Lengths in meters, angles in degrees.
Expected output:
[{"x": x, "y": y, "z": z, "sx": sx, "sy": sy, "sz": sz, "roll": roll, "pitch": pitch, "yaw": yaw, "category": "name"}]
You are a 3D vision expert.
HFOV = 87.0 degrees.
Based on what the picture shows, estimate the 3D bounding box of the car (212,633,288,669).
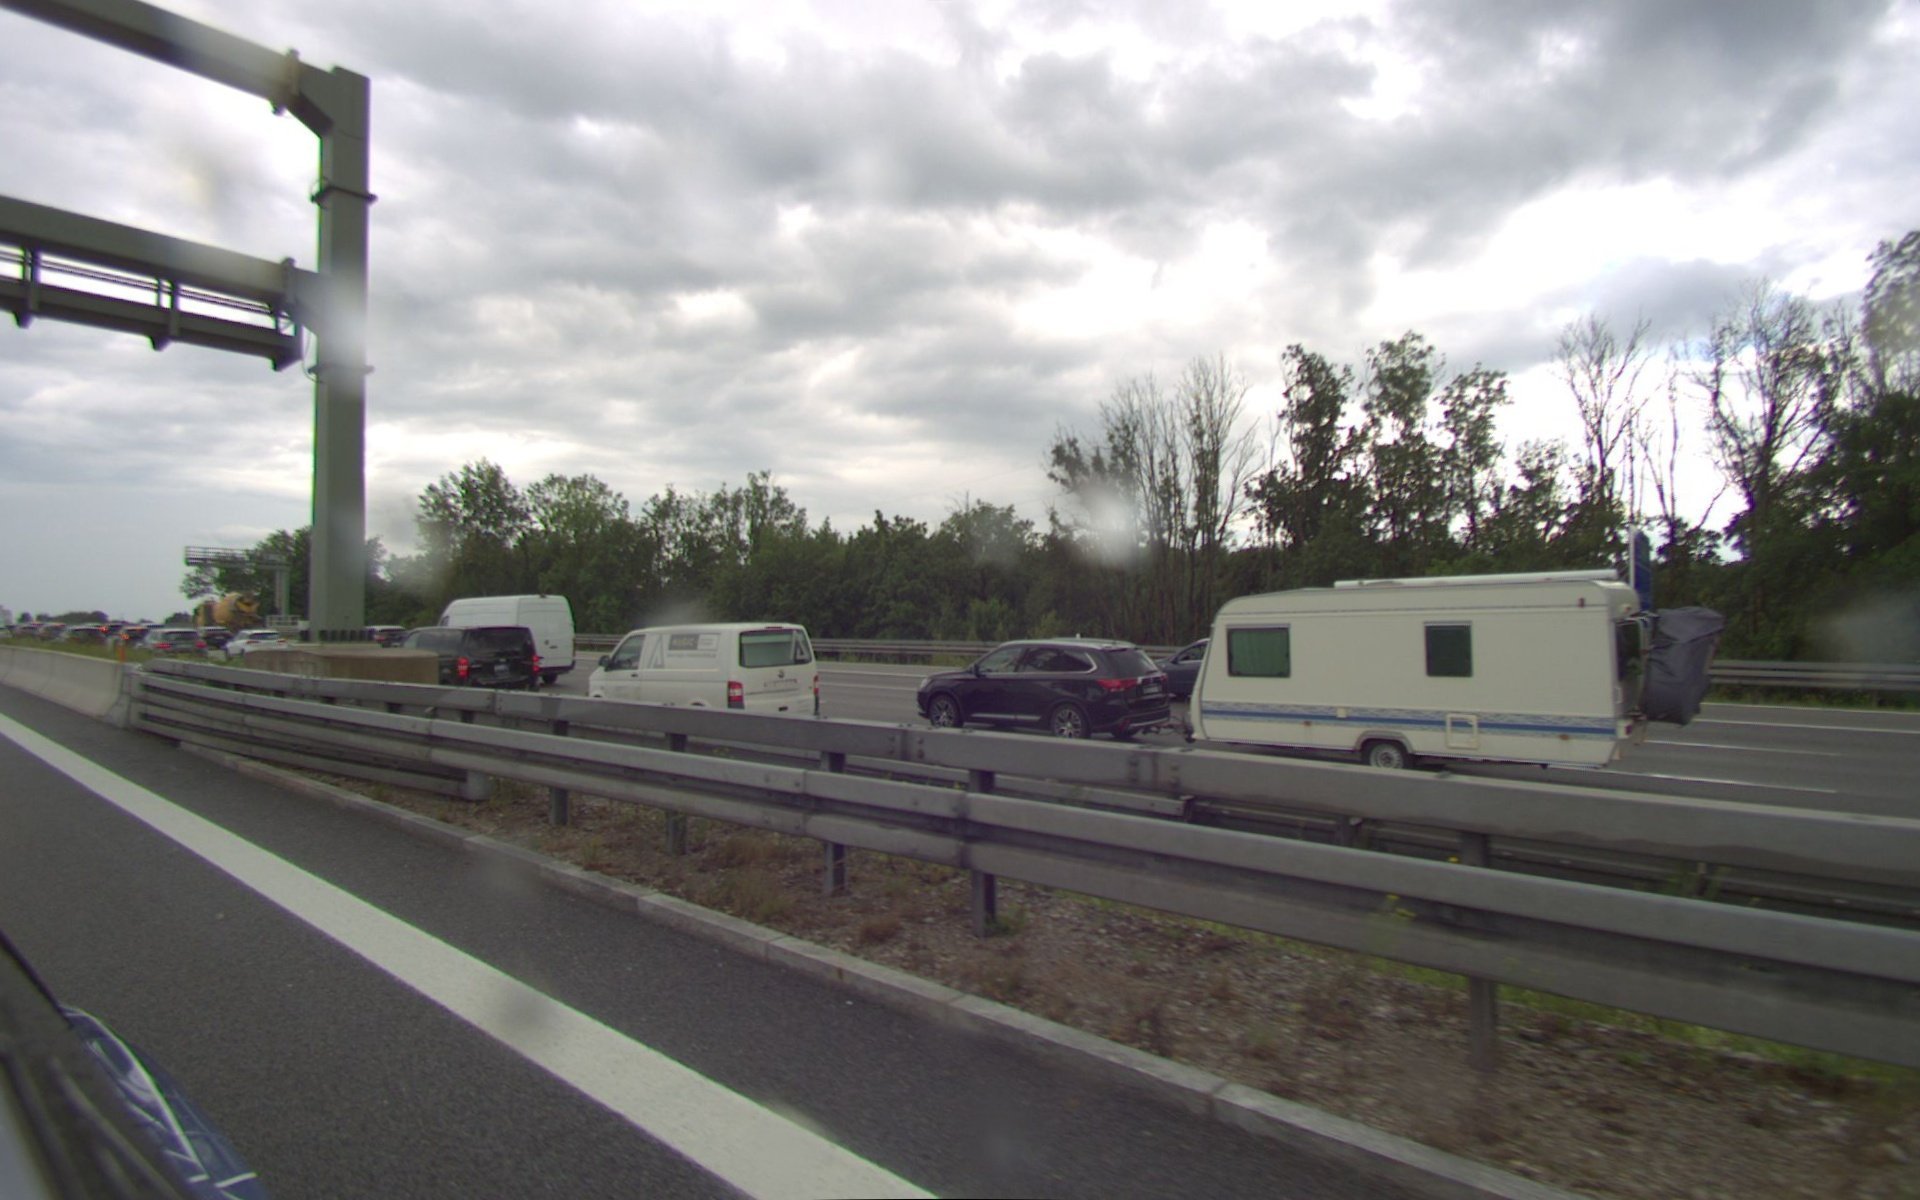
[{"x": -33.386, "y": 2.372, "z": 47.548, "sx": 4.909, "sy": 1.505, "sz": 1.706, "roll": -1, "pitch": 0, "yaw": 40, "category": "car"}]

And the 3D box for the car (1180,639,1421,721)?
[{"x": 7.184, "y": 1.612, "z": 21.598, "sx": 4.475, "sy": 1.506, "sz": 1.962, "roll": -1, "pitch": -2, "yaw": 41, "category": "car"}]

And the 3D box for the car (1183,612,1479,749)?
[{"x": 6.380, "y": 1.288, "z": 17.715, "sx": 4.475, "sy": 2.093, "sz": 1.962, "roll": -1, "pitch": -2, "yaw": 41, "category": "car"}]

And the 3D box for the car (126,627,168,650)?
[{"x": -62.503, "y": 2.913, "z": 77.759, "sx": 4.516, "sy": 1.615, "sz": 1.705, "roll": -1, "pitch": 0, "yaw": 41, "category": "car"}]

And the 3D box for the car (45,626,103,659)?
[{"x": -48.127, "y": 2.273, "z": 54.947, "sx": 4.910, "sy": 1.615, "sz": 1.705, "roll": -1, "pitch": 0, "yaw": 41, "category": "car"}]

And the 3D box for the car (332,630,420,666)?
[{"x": -26.686, "y": 2.146, "z": 46.197, "sx": 4.910, "sy": 1.506, "sz": 1.962, "roll": -1, "pitch": -2, "yaw": 41, "category": "car"}]

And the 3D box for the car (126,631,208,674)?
[{"x": -32.865, "y": 2.119, "z": 41.892, "sx": 4.909, "sy": 1.615, "sz": 1.706, "roll": -1, "pitch": 0, "yaw": 40, "category": "car"}]

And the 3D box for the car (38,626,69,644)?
[{"x": -92.852, "y": 3.555, "z": 103.643, "sx": 5.233, "sy": 1.658, "sz": 1.705, "roll": -1, "pitch": 0, "yaw": 41, "category": "car"}]

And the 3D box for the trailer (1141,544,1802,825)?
[{"x": 6.011, "y": 0.871, "z": 12.906, "sx": 7.181, "sy": 2.673, "sz": 2.317, "roll": -1, "pitch": -2, "yaw": 42, "category": "trailer"}]

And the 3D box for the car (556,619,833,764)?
[{"x": -4.627, "y": 1.383, "z": 17.099, "sx": 5.372, "sy": 2.093, "sz": 1.799, "roll": -1, "pitch": -2, "yaw": 41, "category": "car"}]

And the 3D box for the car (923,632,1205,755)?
[{"x": 1.624, "y": 1.431, "z": 16.887, "sx": 4.476, "sy": 1.690, "sz": 1.799, "roll": -1, "pitch": 0, "yaw": 42, "category": "car"}]

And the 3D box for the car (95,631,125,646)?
[{"x": -88.268, "y": 4.021, "z": 105.052, "sx": 4.516, "sy": 1.439, "sz": 1.705, "roll": -1, "pitch": 0, "yaw": 41, "category": "car"}]

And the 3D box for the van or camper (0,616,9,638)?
[{"x": -145.217, "y": 4.037, "z": 151.881, "sx": 8.468, "sy": 3.146, "sz": 2.599, "roll": -1, "pitch": 0, "yaw": 39, "category": "van or camper"}]

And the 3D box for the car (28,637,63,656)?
[{"x": -78.143, "y": 3.938, "z": 86.455, "sx": 4.516, "sy": 1.439, "sz": 1.705, "roll": -1, "pitch": 0, "yaw": 41, "category": "car"}]

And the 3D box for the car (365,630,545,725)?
[{"x": -11.821, "y": 1.685, "z": 23.497, "sx": 5.421, "sy": 1.919, "sz": 1.799, "roll": -1, "pitch": -2, "yaw": 41, "category": "car"}]

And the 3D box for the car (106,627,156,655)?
[{"x": -53.563, "y": 2.620, "z": 65.352, "sx": 4.642, "sy": 1.615, "sz": 1.705, "roll": -1, "pitch": 0, "yaw": 41, "category": "car"}]

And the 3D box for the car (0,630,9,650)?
[{"x": -73.349, "y": 3.054, "z": 76.414, "sx": 4.645, "sy": 1.439, "sz": 1.706, "roll": -1, "pitch": 0, "yaw": 40, "category": "car"}]

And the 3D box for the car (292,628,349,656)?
[{"x": -40.157, "y": 2.608, "z": 63.494, "sx": 4.910, "sy": 1.615, "sz": 1.705, "roll": -1, "pitch": 0, "yaw": 41, "category": "car"}]

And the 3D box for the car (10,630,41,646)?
[{"x": -89.258, "y": 3.582, "z": 96.677, "sx": 4.516, "sy": 1.439, "sz": 1.705, "roll": -1, "pitch": 0, "yaw": 41, "category": "car"}]

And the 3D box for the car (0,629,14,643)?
[{"x": -99.981, "y": 3.719, "z": 105.367, "sx": 4.199, "sy": 1.429, "sz": 1.705, "roll": -1, "pitch": -2, "yaw": 41, "category": "car"}]

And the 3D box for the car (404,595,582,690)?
[{"x": -14.757, "y": 1.260, "z": 31.670, "sx": 7.731, "sy": 2.673, "sz": 2.027, "roll": -1, "pitch": -2, "yaw": 41, "category": "car"}]

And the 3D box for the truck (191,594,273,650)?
[{"x": -55.405, "y": 1.667, "z": 76.873, "sx": 9.576, "sy": 4.045, "sz": 2.885, "roll": -1, "pitch": -1, "yaw": 41, "category": "truck"}]

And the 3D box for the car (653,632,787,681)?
[{"x": -8.248, "y": 1.867, "z": 34.496, "sx": 4.910, "sy": 1.506, "sz": 1.962, "roll": -1, "pitch": -2, "yaw": 41, "category": "car"}]

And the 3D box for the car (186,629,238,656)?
[{"x": -48.825, "y": 2.747, "z": 66.010, "sx": 4.910, "sy": 1.615, "sz": 1.705, "roll": -1, "pitch": 0, "yaw": 41, "category": "car"}]
